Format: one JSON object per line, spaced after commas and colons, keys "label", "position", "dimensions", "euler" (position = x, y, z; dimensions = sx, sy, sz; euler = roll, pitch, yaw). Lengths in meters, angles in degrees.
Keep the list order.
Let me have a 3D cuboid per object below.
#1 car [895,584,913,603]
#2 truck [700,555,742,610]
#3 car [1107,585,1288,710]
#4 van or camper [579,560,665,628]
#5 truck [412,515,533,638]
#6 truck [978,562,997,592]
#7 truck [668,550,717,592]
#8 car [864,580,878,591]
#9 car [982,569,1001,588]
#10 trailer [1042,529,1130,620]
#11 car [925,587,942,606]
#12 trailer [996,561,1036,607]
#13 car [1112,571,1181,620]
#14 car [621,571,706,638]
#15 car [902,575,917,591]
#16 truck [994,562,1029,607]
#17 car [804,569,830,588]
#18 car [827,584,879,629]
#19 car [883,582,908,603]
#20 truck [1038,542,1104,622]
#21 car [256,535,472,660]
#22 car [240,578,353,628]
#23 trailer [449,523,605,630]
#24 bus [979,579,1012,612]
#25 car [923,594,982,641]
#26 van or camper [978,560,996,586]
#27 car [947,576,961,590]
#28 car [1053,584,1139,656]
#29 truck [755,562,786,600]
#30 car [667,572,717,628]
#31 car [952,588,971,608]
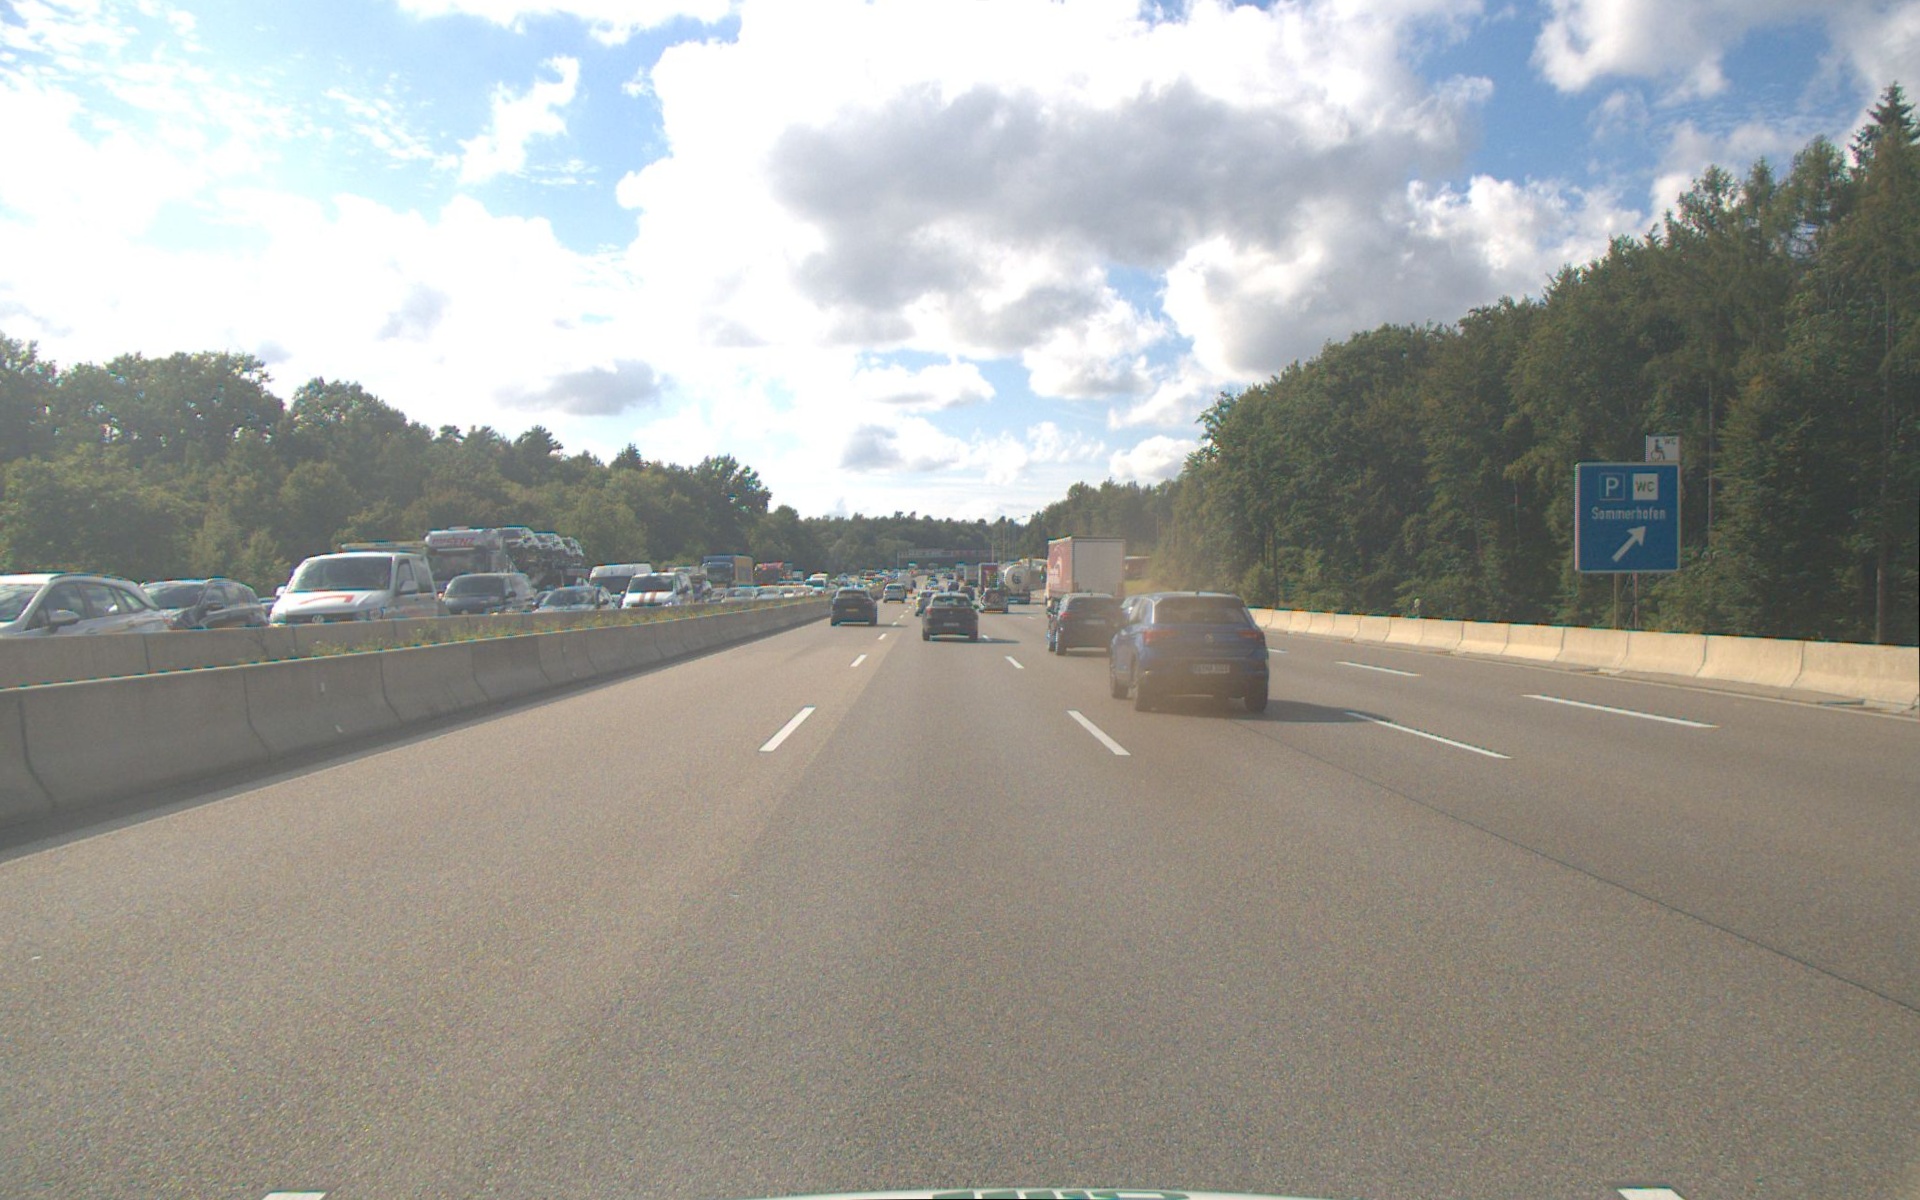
{"label": "car", "position": [-6.177, -0.733, 182.571], "dimensions": [1.953, 2.049, 3.999], "euler": [1, 0, -1]}
{"label": "truck", "position": [-19.259, -1.361, 133.652], "dimensions": [2.681, 4.221, 5.614], "euler": [1, -1, -2]}
{"label": "car", "position": [3.196, 0.615, 23.159], "dimensions": [1.884, 1.568, 4.645], "euler": [0, 0, 0]}
{"label": "van or camper", "position": [-14.449, -0.199, 71.196], "dimensions": [2.342, 2.758, 6.630], "euler": [1, -1, -1]}
{"label": "truck", "position": [-18.030, -0.865, 61.553], "dimensions": [2.795, 4.308, 5.712], "euler": [1, 0, -1]}
{"label": "truck", "position": [3.541, -2.938, 213.443], "dimensions": [2.310, 3.635, 11.265], "euler": [1, -1, 0]}
{"label": "truck", "position": [-19.207, -2.081, 119.111], "dimensions": [2.281, 2.850, 7.947], "euler": [2, 1, -1]}
{"label": "car", "position": [-13.558, -2.250, 252.103], "dimensions": [1.953, 1.600, 4.815], "euler": [0, 1, 0]}
{"label": "car", "position": [3.534, -2.403, 187.022], "dimensions": [1.953, 2.049, 3.999], "euler": [1, -1, -1]}
{"label": "trailer", "position": [6.126, -1.075, 82.596], "dimensions": [2.977, 4.106, 13.886], "euler": [1, -1, -1]}
{"label": "car", "position": [-3.018, -0.389, 187.378], "dimensions": [1.953, 2.049, 3.999], "euler": [-1, -1, -1]}
{"label": "trailer", "position": [5.079, -1.402, 152.918], "dimensions": [2.975, 4.086, 12.241], "euler": [0, 0, -2]}
{"label": "car", "position": [6.172, -0.150, 55.073], "dimensions": [1.680, 1.537, 4.300], "euler": [0, 0, -2]}
{"label": "car", "position": [-10.071, 0.177, 56.556], "dimensions": [1.953, 2.137, 5.277], "euler": [1, -1, -1]}
{"label": "car", "position": [-6.775, -2.256, 220.654], "dimensions": [1.953, 2.049, 3.999], "euler": [1, 0, -1]}
{"label": "truck", "position": [4.942, -1.475, 159.588], "dimensions": [2.984, 4.233, 7.125], "euler": [0, 0, -1]}
{"label": "car", "position": [-11.671, -1.726, 135.604], "dimensions": [1.812, 1.378, 5.486], "euler": [1, -1, -2]}
{"label": "car", "position": [-4.487, 0.256, 69.968], "dimensions": [1.953, 1.807, 3.999], "euler": [1, 0, -1]}
{"label": "car", "position": [-5.733, -0.693, 147.730], "dimensions": [2.111, 1.807, 3.999], "euler": [1, 0, -1]}
{"label": "truck", "position": [5.945, -0.925, 89.463], "dimensions": [3.018, 4.134, 6.068], "euler": [1, -1, -1]}
{"label": "car", "position": [-9.582, -0.046, 26.976], "dimensions": [2.044, 1.833, 4.178], "euler": [1, 0, -1]}
{"label": "car", "position": [-21.148, 0.083, 52.884], "dimensions": [1.852, 1.525, 4.409], "euler": [1, 0, -1]}
{"label": "trailer", "position": [-18.262, -0.799, 71.189], "dimensions": [2.773, 4.044, 16.000], "euler": [1, -1, -1]}
{"label": "bus", "position": [2.231, -0.271, 105.903], "dimensions": [1.953, 2.049, 3.999], "euler": [1, -1, -1]}
{"label": "car", "position": [-0.265, 0.534, 51.749], "dimensions": [1.699, 1.389, 3.998], "euler": [1, 0, -2]}
{"label": "van or camper", "position": [3.568, -3.582, 220.375], "dimensions": [2.303, 3.199, 5.710], "euler": [1, -1, 0]}
{"label": "car", "position": [-0.893, -2.495, 248.161], "dimensions": [1.953, 2.049, 3.999], "euler": [1, 0, -1]}
{"label": "car", "position": [3.373, 0.471, 41.572], "dimensions": [1.763, 1.673, 3.999], "euler": [1, 0, -1]}
{"label": "truck", "position": [-20.576, -2.108, 179.887], "dimensions": [2.720, 4.007, 6.850], "euler": [1, 1, -2]}
{"label": "car", "position": [-15.068, -0.022, 93.211], "dimensions": [1.953, 3.015, 5.401], "euler": [2, 0, -1]}
{"label": "car", "position": [0.144, -0.181, 172.701], "dimensions": [1.953, 2.049, 3.999], "euler": [1, 0, -1]}
